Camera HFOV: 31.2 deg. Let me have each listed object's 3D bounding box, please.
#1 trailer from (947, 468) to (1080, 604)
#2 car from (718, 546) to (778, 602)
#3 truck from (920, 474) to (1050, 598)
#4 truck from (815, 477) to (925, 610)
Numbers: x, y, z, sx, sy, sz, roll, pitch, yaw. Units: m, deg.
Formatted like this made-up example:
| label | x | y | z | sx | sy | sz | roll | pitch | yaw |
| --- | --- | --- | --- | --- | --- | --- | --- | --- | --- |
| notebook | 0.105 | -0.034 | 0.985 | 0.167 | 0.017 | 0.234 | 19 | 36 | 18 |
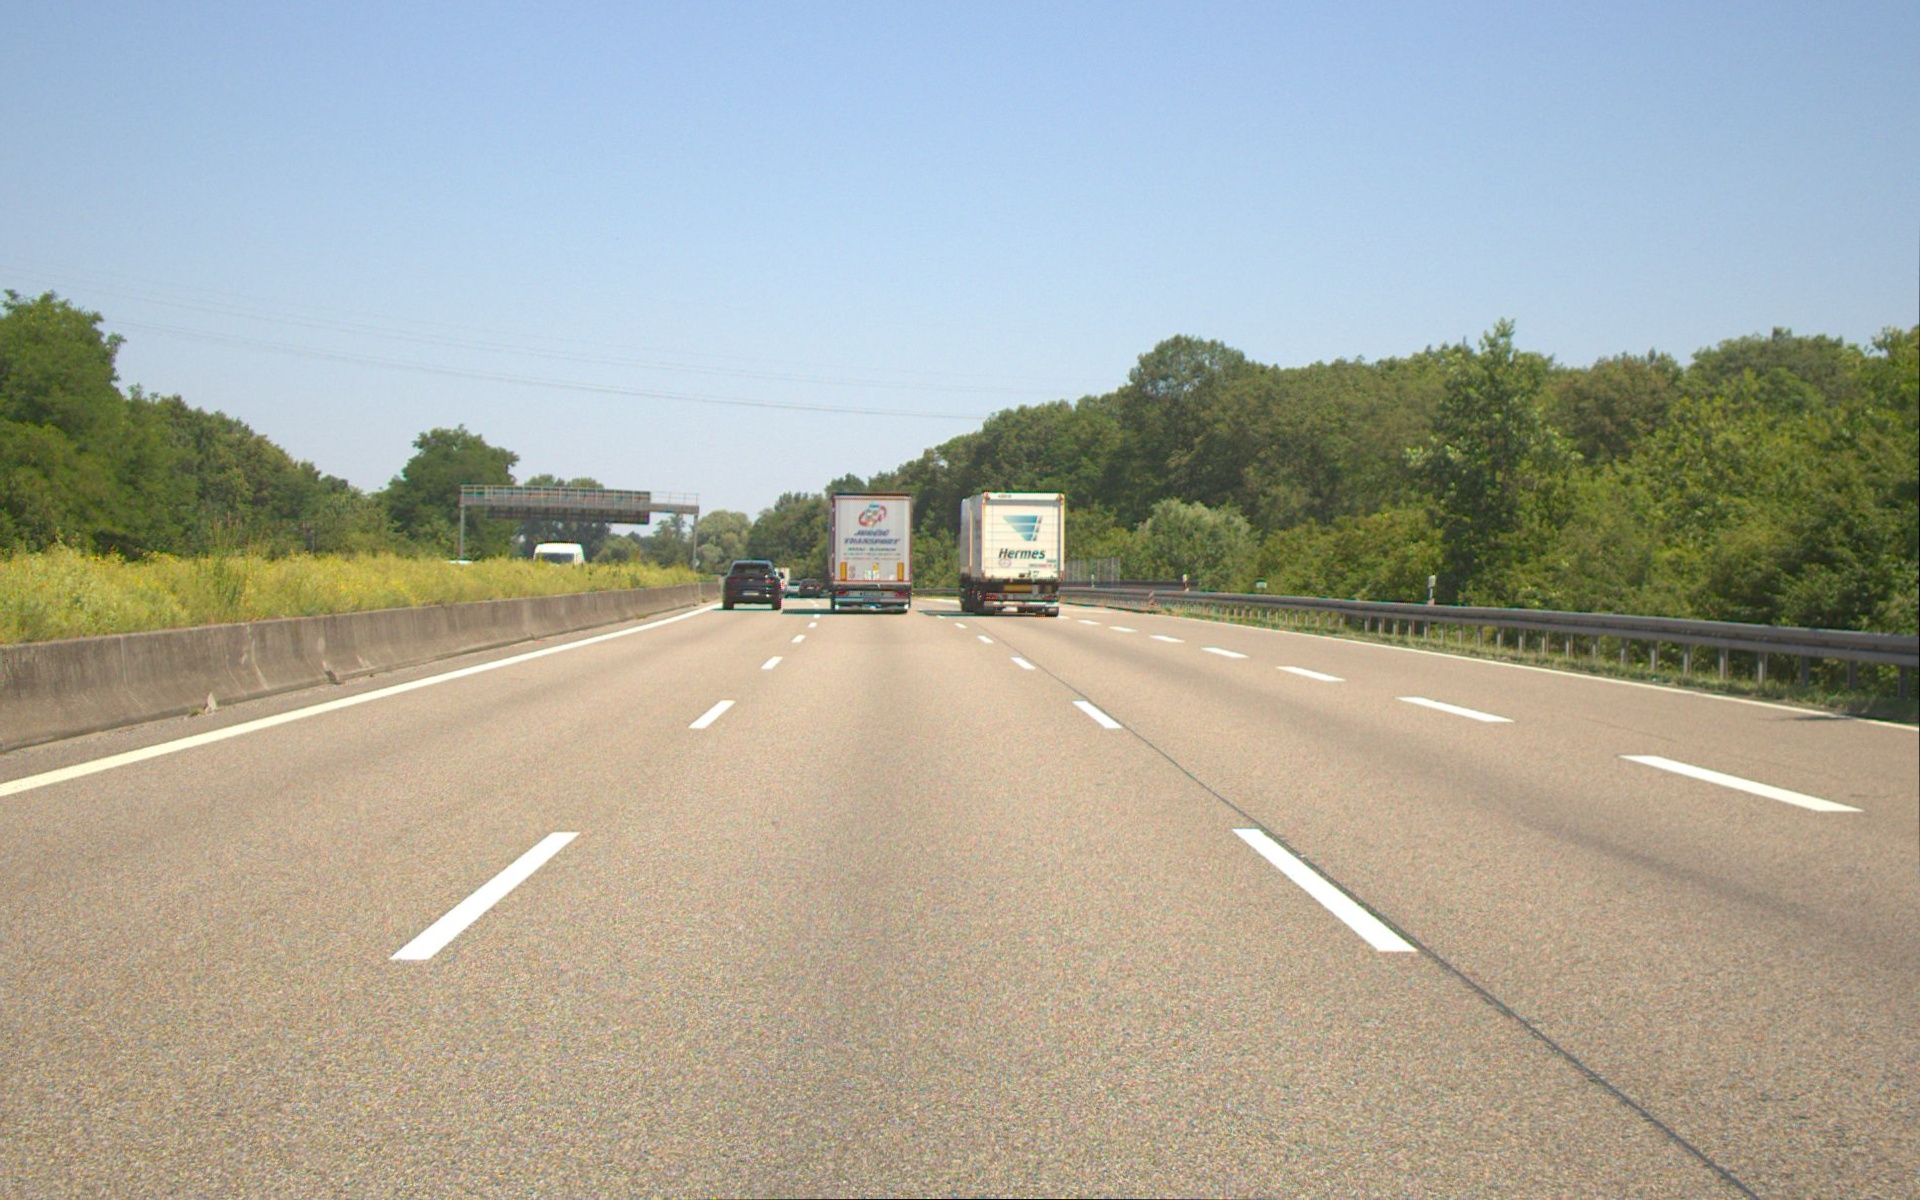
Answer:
| label | x | y | z | sx | sy | sz | roll | pitch | yaw |
| --- | --- | --- | --- | --- | --- | --- | --- | --- | --- |
| trailer | 1.630 | -2.085 | 110.411 | 3.367 | 4.128 | 9.093 | 1 | 1 | -4 |
| car | -7.439 | -0.921 | 120.415 | 1.993 | 1.868 | 4.001 | 1 | 1 | -4 |
| truck | 0.769 | -2.270 | 119.439 | 3.325 | 4.039 | 10.956 | 1 | 1 | -6 |
| truck | -3.023 | -1.889 | 113.245 | 3.229 | 4.187 | 8.467 | 1 | 1 | -4 |
